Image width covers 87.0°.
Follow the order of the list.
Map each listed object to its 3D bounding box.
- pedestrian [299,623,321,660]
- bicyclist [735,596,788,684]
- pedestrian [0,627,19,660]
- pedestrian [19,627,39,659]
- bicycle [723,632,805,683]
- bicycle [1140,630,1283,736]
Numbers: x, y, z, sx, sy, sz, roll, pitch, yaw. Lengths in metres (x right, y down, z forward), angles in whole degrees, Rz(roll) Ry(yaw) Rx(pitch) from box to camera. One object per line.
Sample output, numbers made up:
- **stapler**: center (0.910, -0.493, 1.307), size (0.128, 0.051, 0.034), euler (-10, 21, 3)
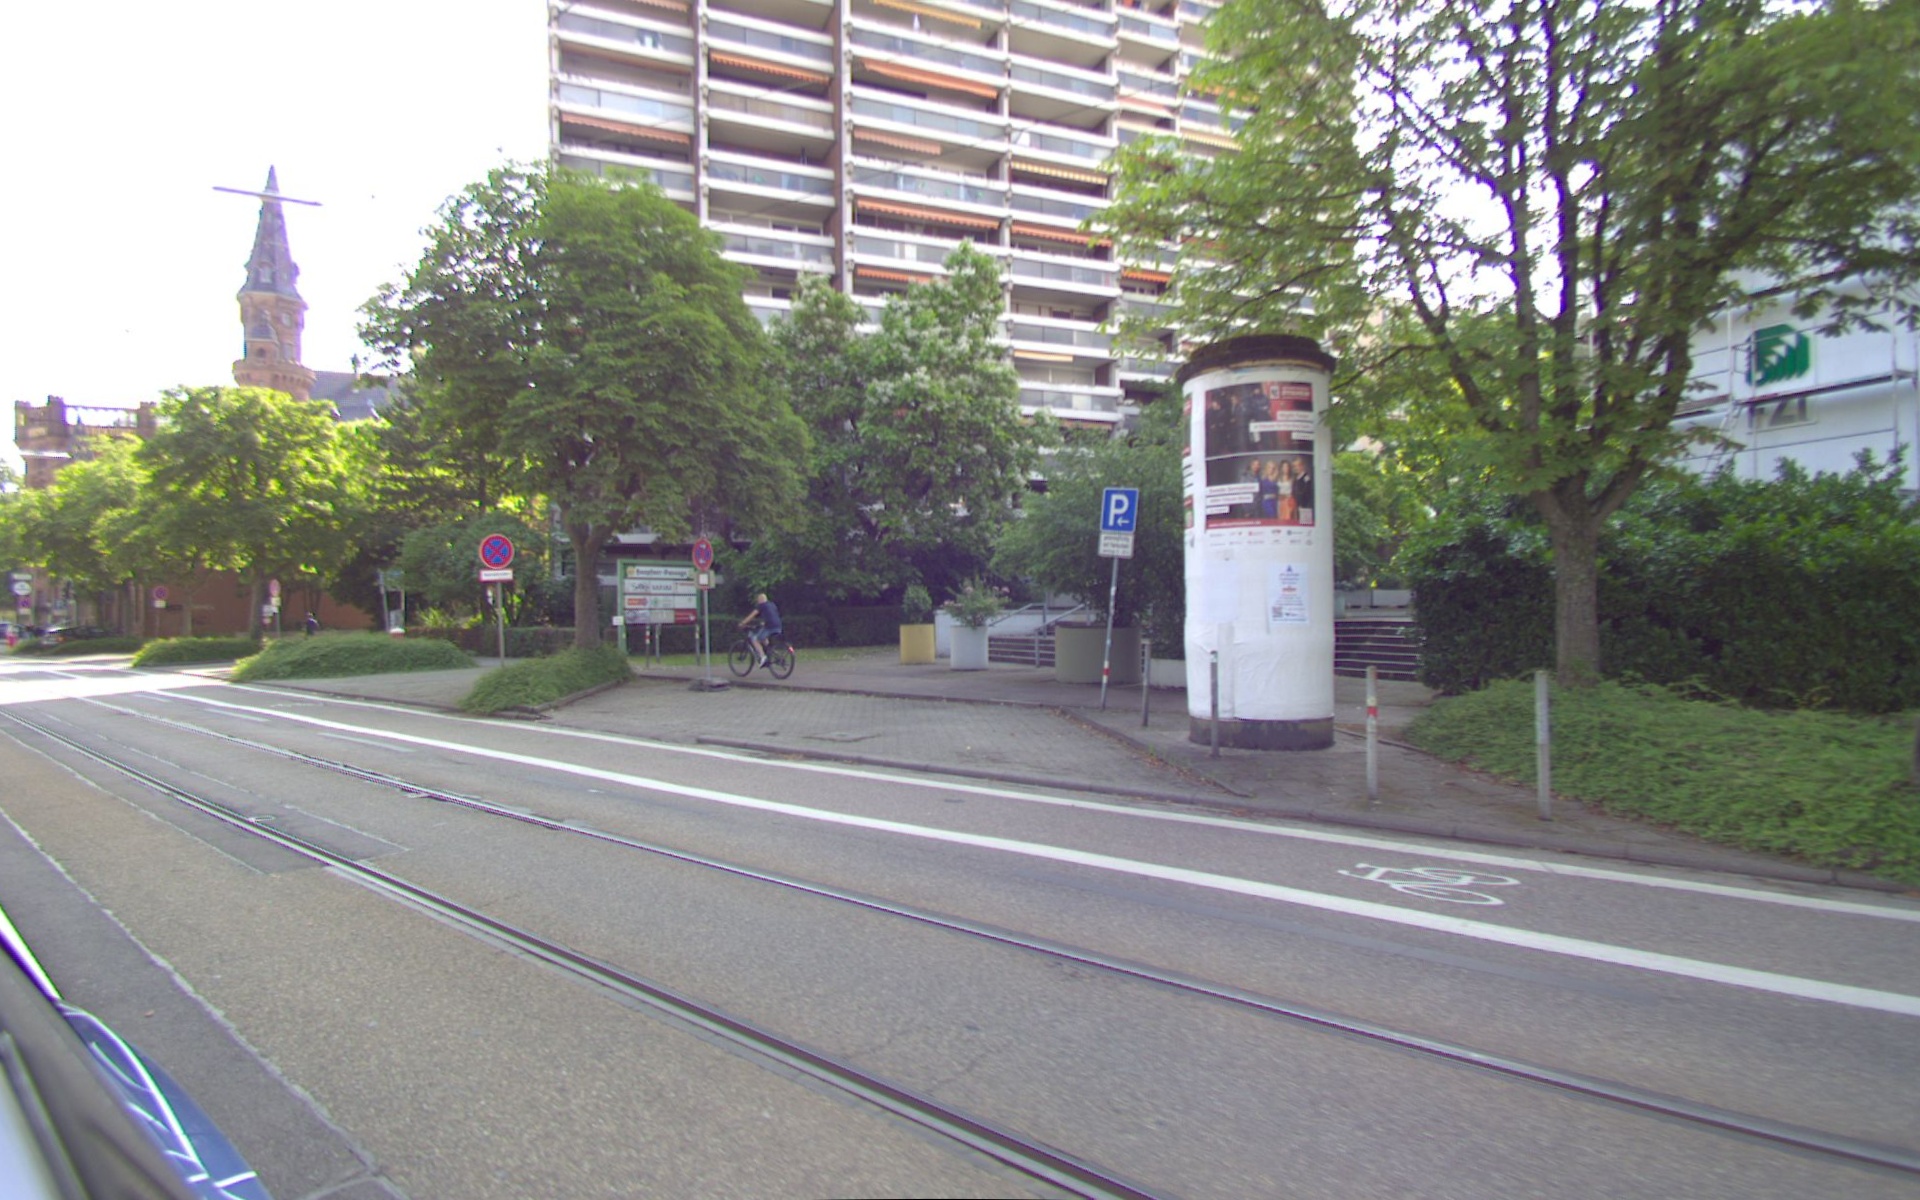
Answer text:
- **pedestrian**: center (-30.134, 1.919, 46.920), size (0.754, 1.642, 0.739), euler (-1, 0, -40)
- **bicyclist**: center (-4.071, 0.801, 20.733), size (0.781, 1.753, 0.716), euler (-1, 0, 41)
- **pedestrian**: center (-60.190, 2.719, 64.019), size (1.057, 2.029, 0.892), euler (-1, 0, 44)
- **pedestrian**: center (-59.555, 2.728, 64.742), size (0.892, 2.029, 1.058), euler (-1, 0, -45)
- **bicycle**: center (-4.050, 1.161, 20.828), size (1.982, 0.988, 0.561), euler (-1, 0, 41)
- **bicycle**: center (2.953, 0.955, 11.941), size (1.485, 1.163, 0.634), euler (-1, 0, -6)
